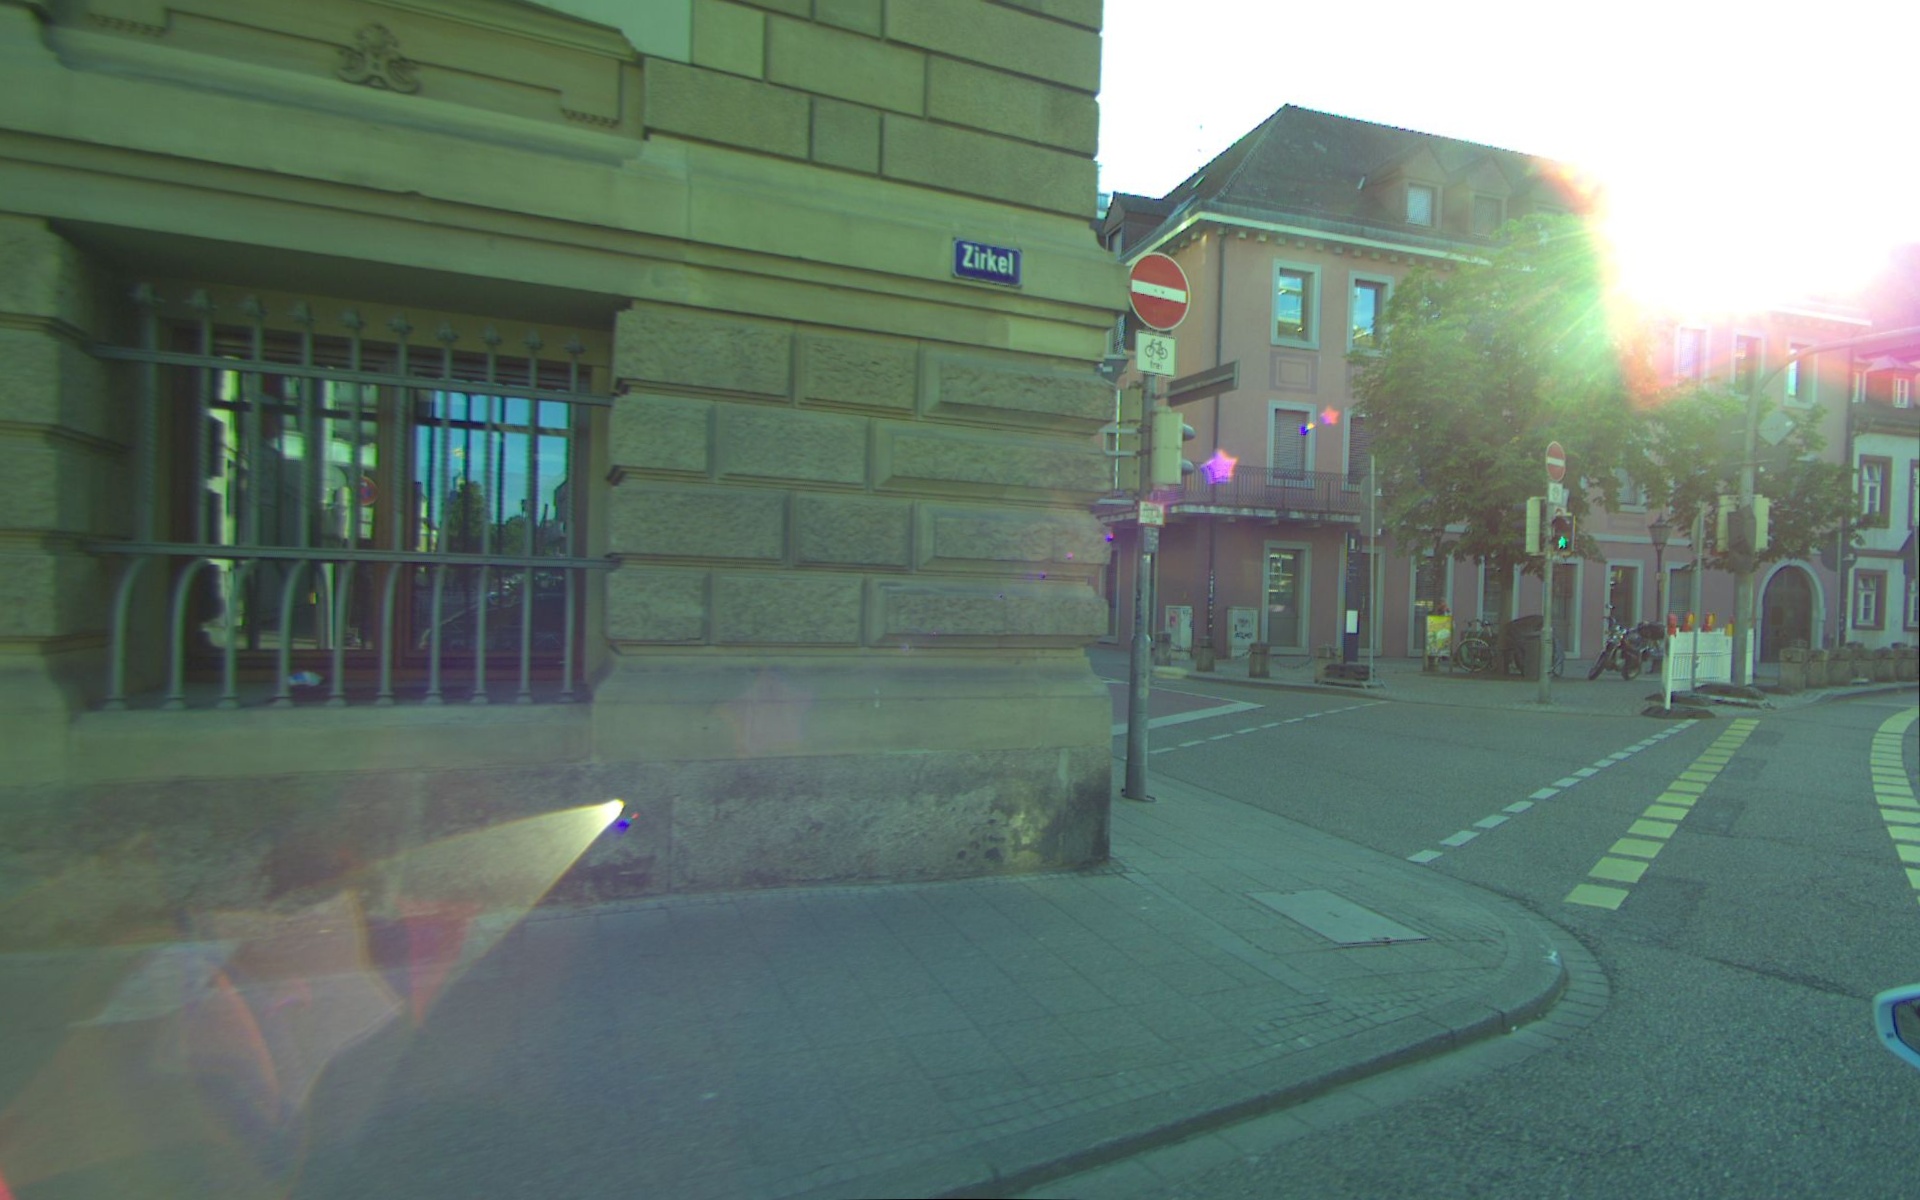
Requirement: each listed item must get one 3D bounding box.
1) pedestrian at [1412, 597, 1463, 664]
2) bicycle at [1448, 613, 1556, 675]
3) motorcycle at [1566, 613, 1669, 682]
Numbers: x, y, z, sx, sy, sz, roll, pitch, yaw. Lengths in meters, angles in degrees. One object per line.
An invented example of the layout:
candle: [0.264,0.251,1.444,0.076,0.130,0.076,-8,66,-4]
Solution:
pedestrian: [12.724,0.816,26.773,0.855,1.711,0.791,2,2,-17]
bicycle: [11.456,0.919,21.303,1.968,1.222,0.683,1,-2,27]
motorcycle: [13.510,0.957,20.630,2.310,1.335,0.808,1,0,-30]
